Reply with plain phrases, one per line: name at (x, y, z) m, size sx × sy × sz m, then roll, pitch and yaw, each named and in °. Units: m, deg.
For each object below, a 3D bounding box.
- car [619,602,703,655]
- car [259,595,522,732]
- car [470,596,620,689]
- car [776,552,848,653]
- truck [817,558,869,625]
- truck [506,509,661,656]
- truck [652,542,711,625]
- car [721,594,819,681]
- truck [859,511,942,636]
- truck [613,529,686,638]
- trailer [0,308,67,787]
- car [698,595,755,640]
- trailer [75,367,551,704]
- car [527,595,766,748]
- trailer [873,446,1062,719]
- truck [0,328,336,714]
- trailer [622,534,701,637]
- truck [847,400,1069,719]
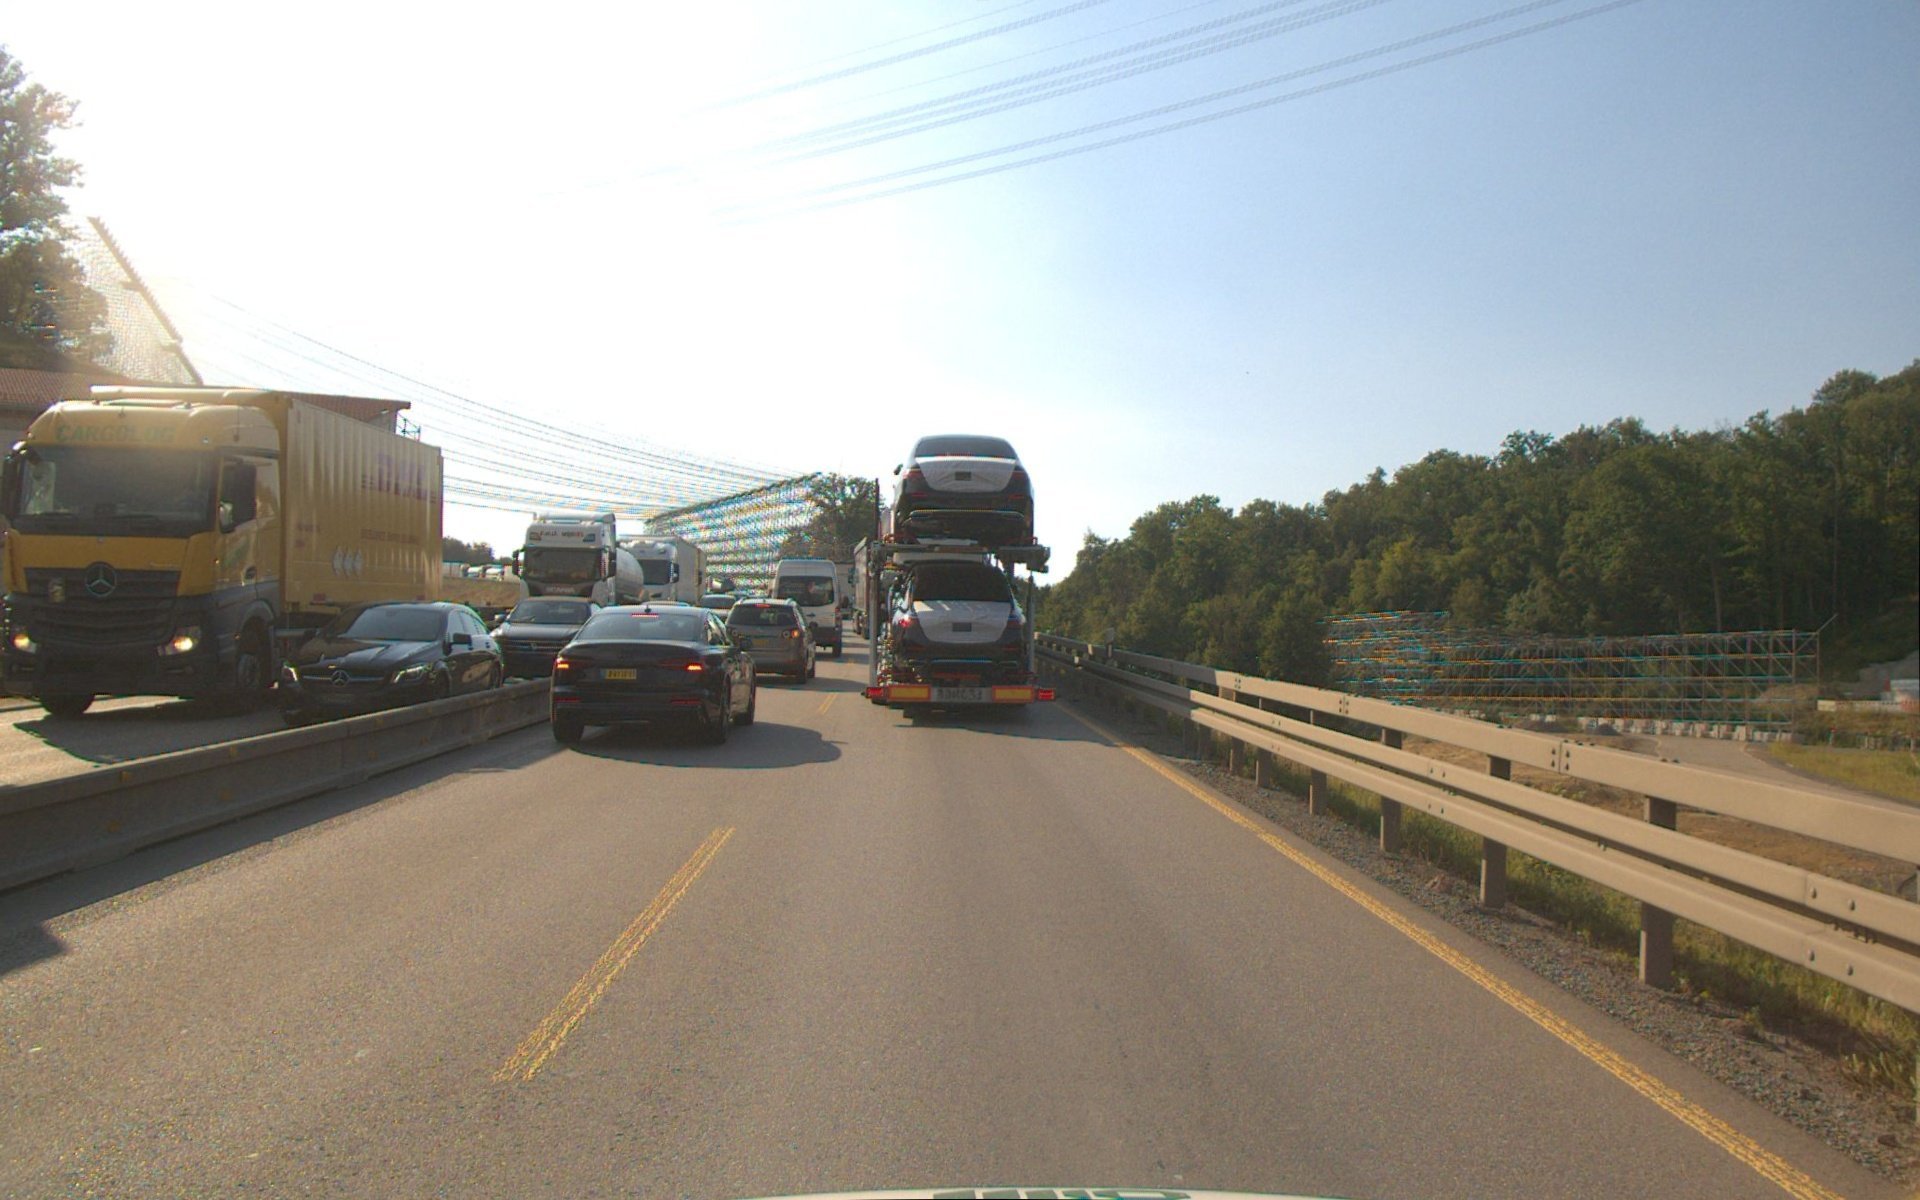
car at (-8.466, 0.816, 47.142) m, size 1.705 × 1.427 × 4.900 m, roll 0°, pitch -1°, yaw -3°
car at (-6.796, 0.737, 20.289) m, size 1.761 × 1.478 × 4.613 m, roll 0°, pitch -1°, yaw -2°
car at (-7.288, 0.750, 29.427) m, size 1.682 × 1.534 × 4.289 m, roll 0°, pitch -1°, yaw -2°
car at (-4.198, 0.109, 47.085) m, size 1.940 × 2.732 × 4.142 m, roll 0°, pitch -1°, yaw -5°
truck at (-8.740, -0.630, 125.152) m, size 3.575 × 4.759 × 11.689 m, roll 1°, pitch 0°, yaw -2°
truck at (-11.858, -0.364, 53.505) m, size 2.754 × 4.040 × 13.879 m, roll 2°, pitch -1°, yaw -4°
truck at (-15.118, -0.834, 90.070) m, size 2.838 × 4.347 × 5.762 m, roll 0°, pitch -1°, yaw -7°
car at (-3.690, 0.742, 32.681) m, size 1.667 × 1.615 × 4.144 m, roll 0°, pitch -1°, yaw -3°
truck at (-2.549, -1.048, 69.651) m, size 3.163 × 4.759 × 11.689 m, roll 1°, pitch 0°, yaw -2°
truck at (-13.008, -0.595, 69.763) m, size 2.396 × 4.347 × 6.314 m, roll 0°, pitch -1°, yaw -5°
trailer at (-9.610, -0.616, 7.184) m, size 2.659 × 4.207 × 16.746 m, roll 0°, pitch -1°, yaw -1°
car at (-9.004, 0.689, 64.061) m, size 1.809 × 1.676 × 4.556 m, roll 0°, pitch -1°, yaw -3°
trailer at (-10.200, -0.656, 29.051) m, size 2.647 × 4.278 × 15.988 m, roll 0°, pitch -1°, yaw -2°
car at (-3.427, 0.752, 19.066) m, size 1.901 × 1.506 × 5.219 m, roll 0°, pitch -1°, yaw -2°
trailer at (-0.208, -0.108, 32.303) m, size 2.817 × 4.064 × 15.270 m, roll 0°, pitch -1°, yaw -2°
truck at (-9.844, -0.830, 20.523) m, size 2.640 × 4.271 × 4.395 m, roll 0°, pitch -1°, yaw -3°
trailer at (-13.509, -0.475, 75.665) m, size 2.405 × 4.341 × 12.131 m, roll 0°, pitch -1°, yaw -5°
truck at (0.026, -0.460, 23.838) m, size 2.810 × 4.050 × 5.771 m, roll 0°, pitch -1°, yaw 1°
